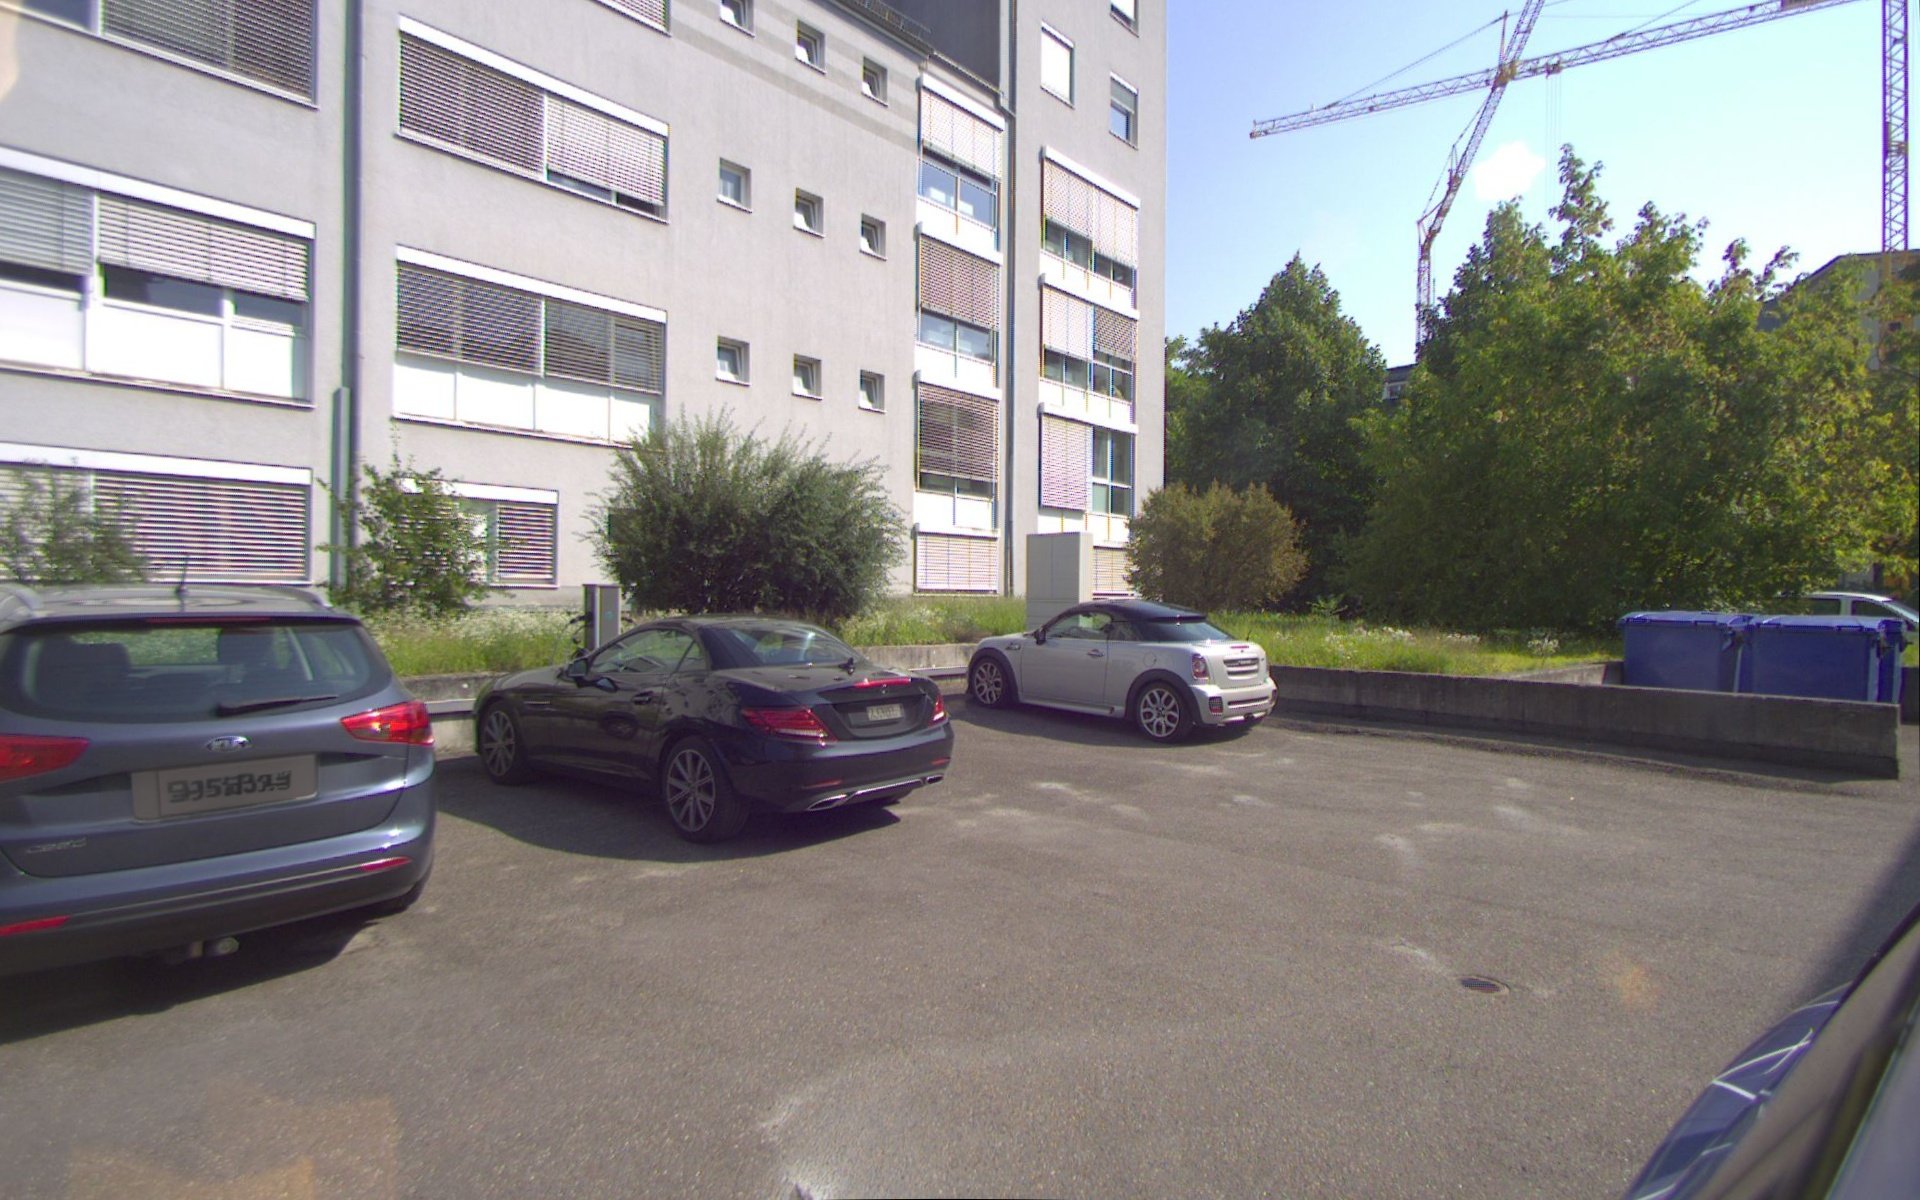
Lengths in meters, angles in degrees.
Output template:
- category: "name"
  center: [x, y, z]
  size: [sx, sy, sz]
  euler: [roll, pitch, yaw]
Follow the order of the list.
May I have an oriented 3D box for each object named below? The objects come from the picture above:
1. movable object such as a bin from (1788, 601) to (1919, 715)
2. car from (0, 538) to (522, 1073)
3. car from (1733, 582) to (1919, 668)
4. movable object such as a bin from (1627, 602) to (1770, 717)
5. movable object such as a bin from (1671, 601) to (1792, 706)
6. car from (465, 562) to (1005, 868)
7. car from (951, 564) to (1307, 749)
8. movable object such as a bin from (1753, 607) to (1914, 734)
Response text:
- category: "movable object such as a bin"
  center: [11.577, 0.706, 13.038]
  size: [1.082, 1.357, 1.310]
  euler: [0, 0, -44]
- category: "car"
  center: [-3.831, 0.606, 4.863]
  size: [3.862, 1.609, 1.850]
  euler: [0, 0, 44]
- category: "car"
  center: [21.882, 0.551, 24.268]
  size: [2.007, 1.945, 4.968]
  euler: [-1, 0, -39]
- category: "movable object such as a bin"
  center: [9.437, 0.716, 12.948]
  size: [1.096, 1.357, 1.238]
  euler: [0, 0, -38]
- category: "movable object such as a bin"
  center: [10.712, 0.700, 14.054]
  size: [1.226, 1.357, 1.060]
  euler: [0, 0, 44]
- category: "car"
  center: [-1.741, 0.590, 7.261]
  size: [3.793, 1.609, 1.870]
  euler: [0, 0, 39]
- category: "car"
  center: [1.790, 0.486, 11.531]
  size: [1.772, 1.563, 3.625]
  euler: [0, 5, -43]
- category: "movable object such as a bin"
  center: [10.273, 0.772, 11.913]
  size: [1.174, 1.357, 1.302]
  euler: [0, 0, -42]
